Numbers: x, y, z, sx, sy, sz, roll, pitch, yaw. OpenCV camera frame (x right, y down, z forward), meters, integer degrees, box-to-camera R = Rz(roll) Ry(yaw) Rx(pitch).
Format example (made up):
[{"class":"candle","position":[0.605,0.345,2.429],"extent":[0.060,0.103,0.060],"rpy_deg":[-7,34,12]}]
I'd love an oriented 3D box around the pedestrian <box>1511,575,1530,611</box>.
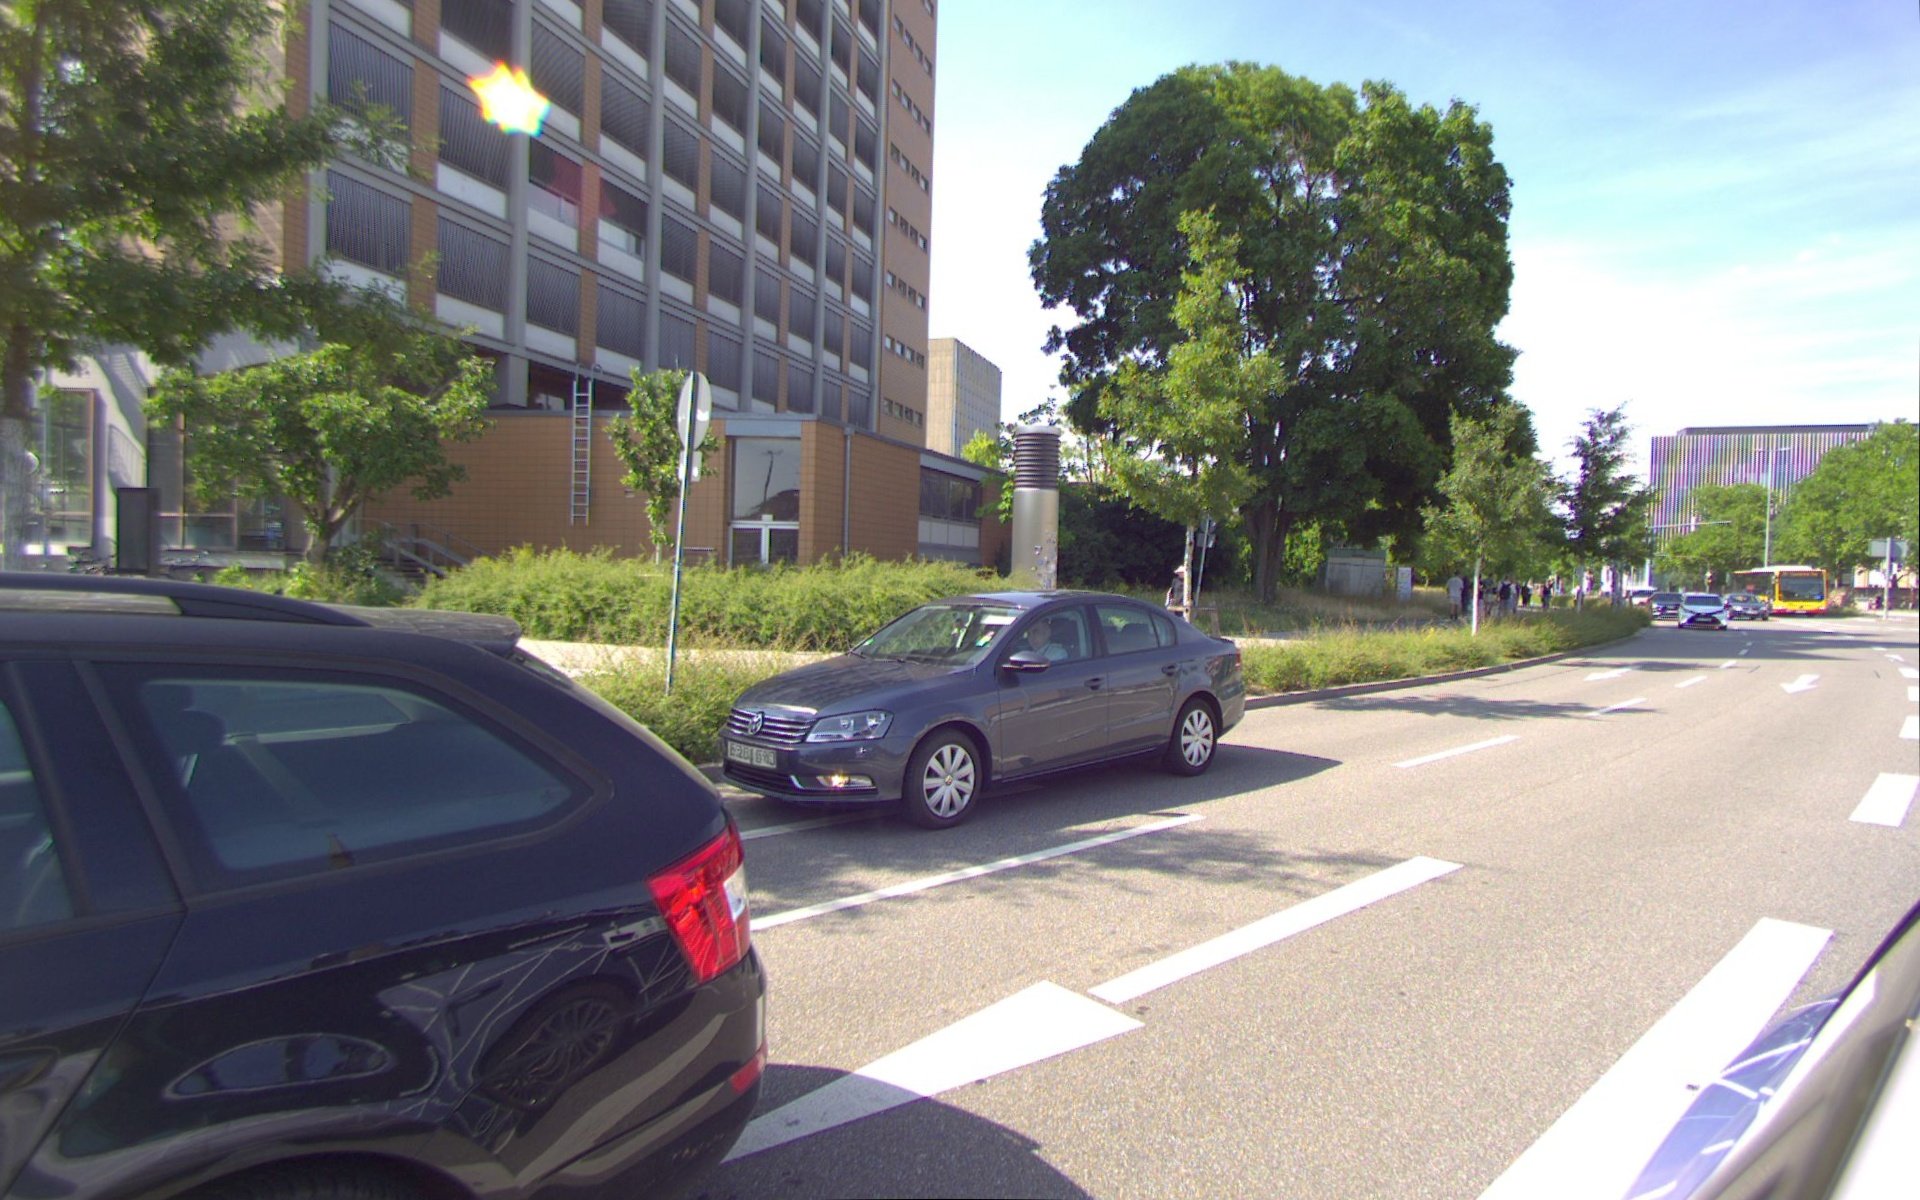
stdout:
[{"class":"pedestrian","position":[23.195,-0.302,41.884],"extent":[0.638,1.464,0.564],"rpy_deg":[3,3,28]}]

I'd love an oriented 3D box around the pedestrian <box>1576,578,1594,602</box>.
[{"class":"pedestrian","position":[30.248,-0.482,48.969],"extent":[0.639,1.145,0.743],"rpy_deg":[4,3,33]}]

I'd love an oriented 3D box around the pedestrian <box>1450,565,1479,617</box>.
[{"class":"pedestrian","position":[18.290,-0.327,36.703],"extent":[0.719,1.860,0.643],"rpy_deg":[0,3,-41]}]

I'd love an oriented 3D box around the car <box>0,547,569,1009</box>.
[{"class":"car","position":[-3.895,0.542,3.615],"extent":[4.325,1.447,1.702],"rpy_deg":[1,3,-44]}]

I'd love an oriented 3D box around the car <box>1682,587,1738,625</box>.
[{"class":"car","position":[30.976,0.205,41.852],"extent":[1.671,1.493,3.714],"rpy_deg":[0,1,34]}]

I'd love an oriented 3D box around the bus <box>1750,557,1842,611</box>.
[{"class":"bus","position":[53.150,-1.021,64.668],"extent":[2.776,3.076,12.012],"rpy_deg":[2,2,31]}]

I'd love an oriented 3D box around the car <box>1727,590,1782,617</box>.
[{"class":"car","position":[43.800,0.153,55.859],"extent":[1.636,1.442,4.081],"rpy_deg":[0,1,27]}]

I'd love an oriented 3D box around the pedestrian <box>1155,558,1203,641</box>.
[{"class":"pedestrian","position":[4.559,-0.021,21.075],"extent":[0.719,1.684,0.592],"rpy_deg":[0,3,-41]}]

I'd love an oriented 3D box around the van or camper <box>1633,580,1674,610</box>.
[{"class":"van or camper","position":[45.711,-0.368,66.784],"extent":[1.715,1.911,4.873],"rpy_deg":[0,1,29]}]

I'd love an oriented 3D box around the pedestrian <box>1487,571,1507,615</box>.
[{"class":"pedestrian","position":[22.431,-0.314,42.284],"extent":[0.638,1.785,0.470],"rpy_deg":[3,3,29]}]

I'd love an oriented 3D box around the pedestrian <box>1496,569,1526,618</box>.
[{"class":"pedestrian","position":[19.626,-0.244,36.047],"extent":[0.739,1.694,0.643],"rpy_deg":[0,3,-41]}]

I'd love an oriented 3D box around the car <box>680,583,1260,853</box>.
[{"class":"car","position":[0.328,0.606,7.597],"extent":[4.451,1.453,1.633],"rpy_deg":[-1,1,-42]}]

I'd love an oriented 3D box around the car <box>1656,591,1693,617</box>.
[{"class":"car","position":[38.230,0.197,54.213],"extent":[1.400,1.311,3.540],"rpy_deg":[2,2,32]}]

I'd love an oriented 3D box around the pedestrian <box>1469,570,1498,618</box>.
[{"class":"pedestrian","position":[18.724,-0.218,36.190],"extent":[0.719,1.646,0.643],"rpy_deg":[0,3,-41]}]

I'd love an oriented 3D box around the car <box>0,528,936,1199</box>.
[{"class":"car","position":[-2.329,0.638,1.189],"extent":[4.698,1.453,1.633],"rpy_deg":[-1,1,-42]}]
